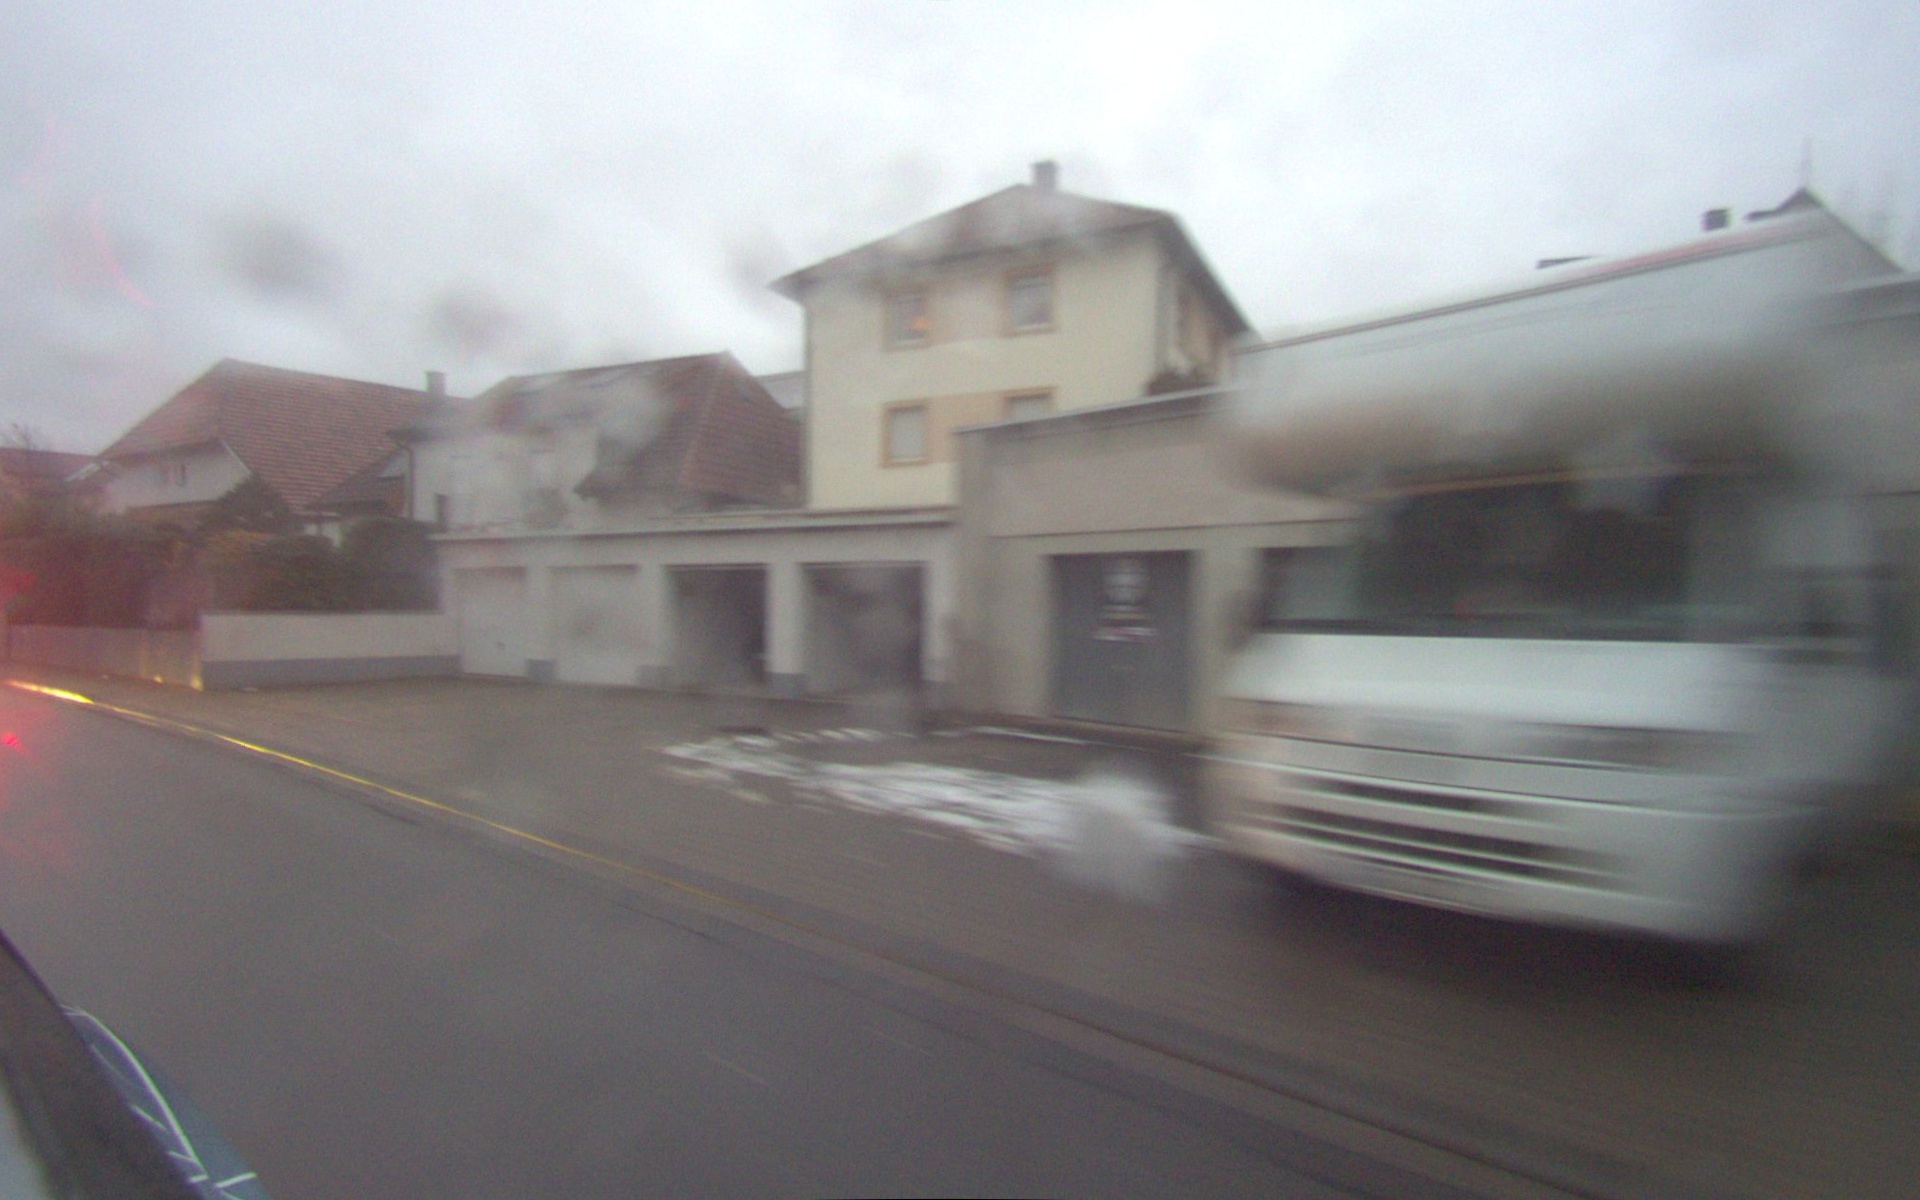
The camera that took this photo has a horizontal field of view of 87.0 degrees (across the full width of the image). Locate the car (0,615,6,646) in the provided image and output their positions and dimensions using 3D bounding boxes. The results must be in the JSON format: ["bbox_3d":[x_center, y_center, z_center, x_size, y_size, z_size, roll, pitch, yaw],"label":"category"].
[{"bbox_3d":[-53.883,1.670,54.141,3.935,1.674,1.759,0,-1,-37],"label":"car"}]

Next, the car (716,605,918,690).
[{"bbox_3d":[-2.569,0.822,19.057,1.754,1.414,3.960,-1,-1,29],"label":"car"}]

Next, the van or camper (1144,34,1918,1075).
[{"bbox_3d":[3.768,0.001,5.818,2.325,2.964,5.988,-1,-4,45],"label":"van or camper"}]
